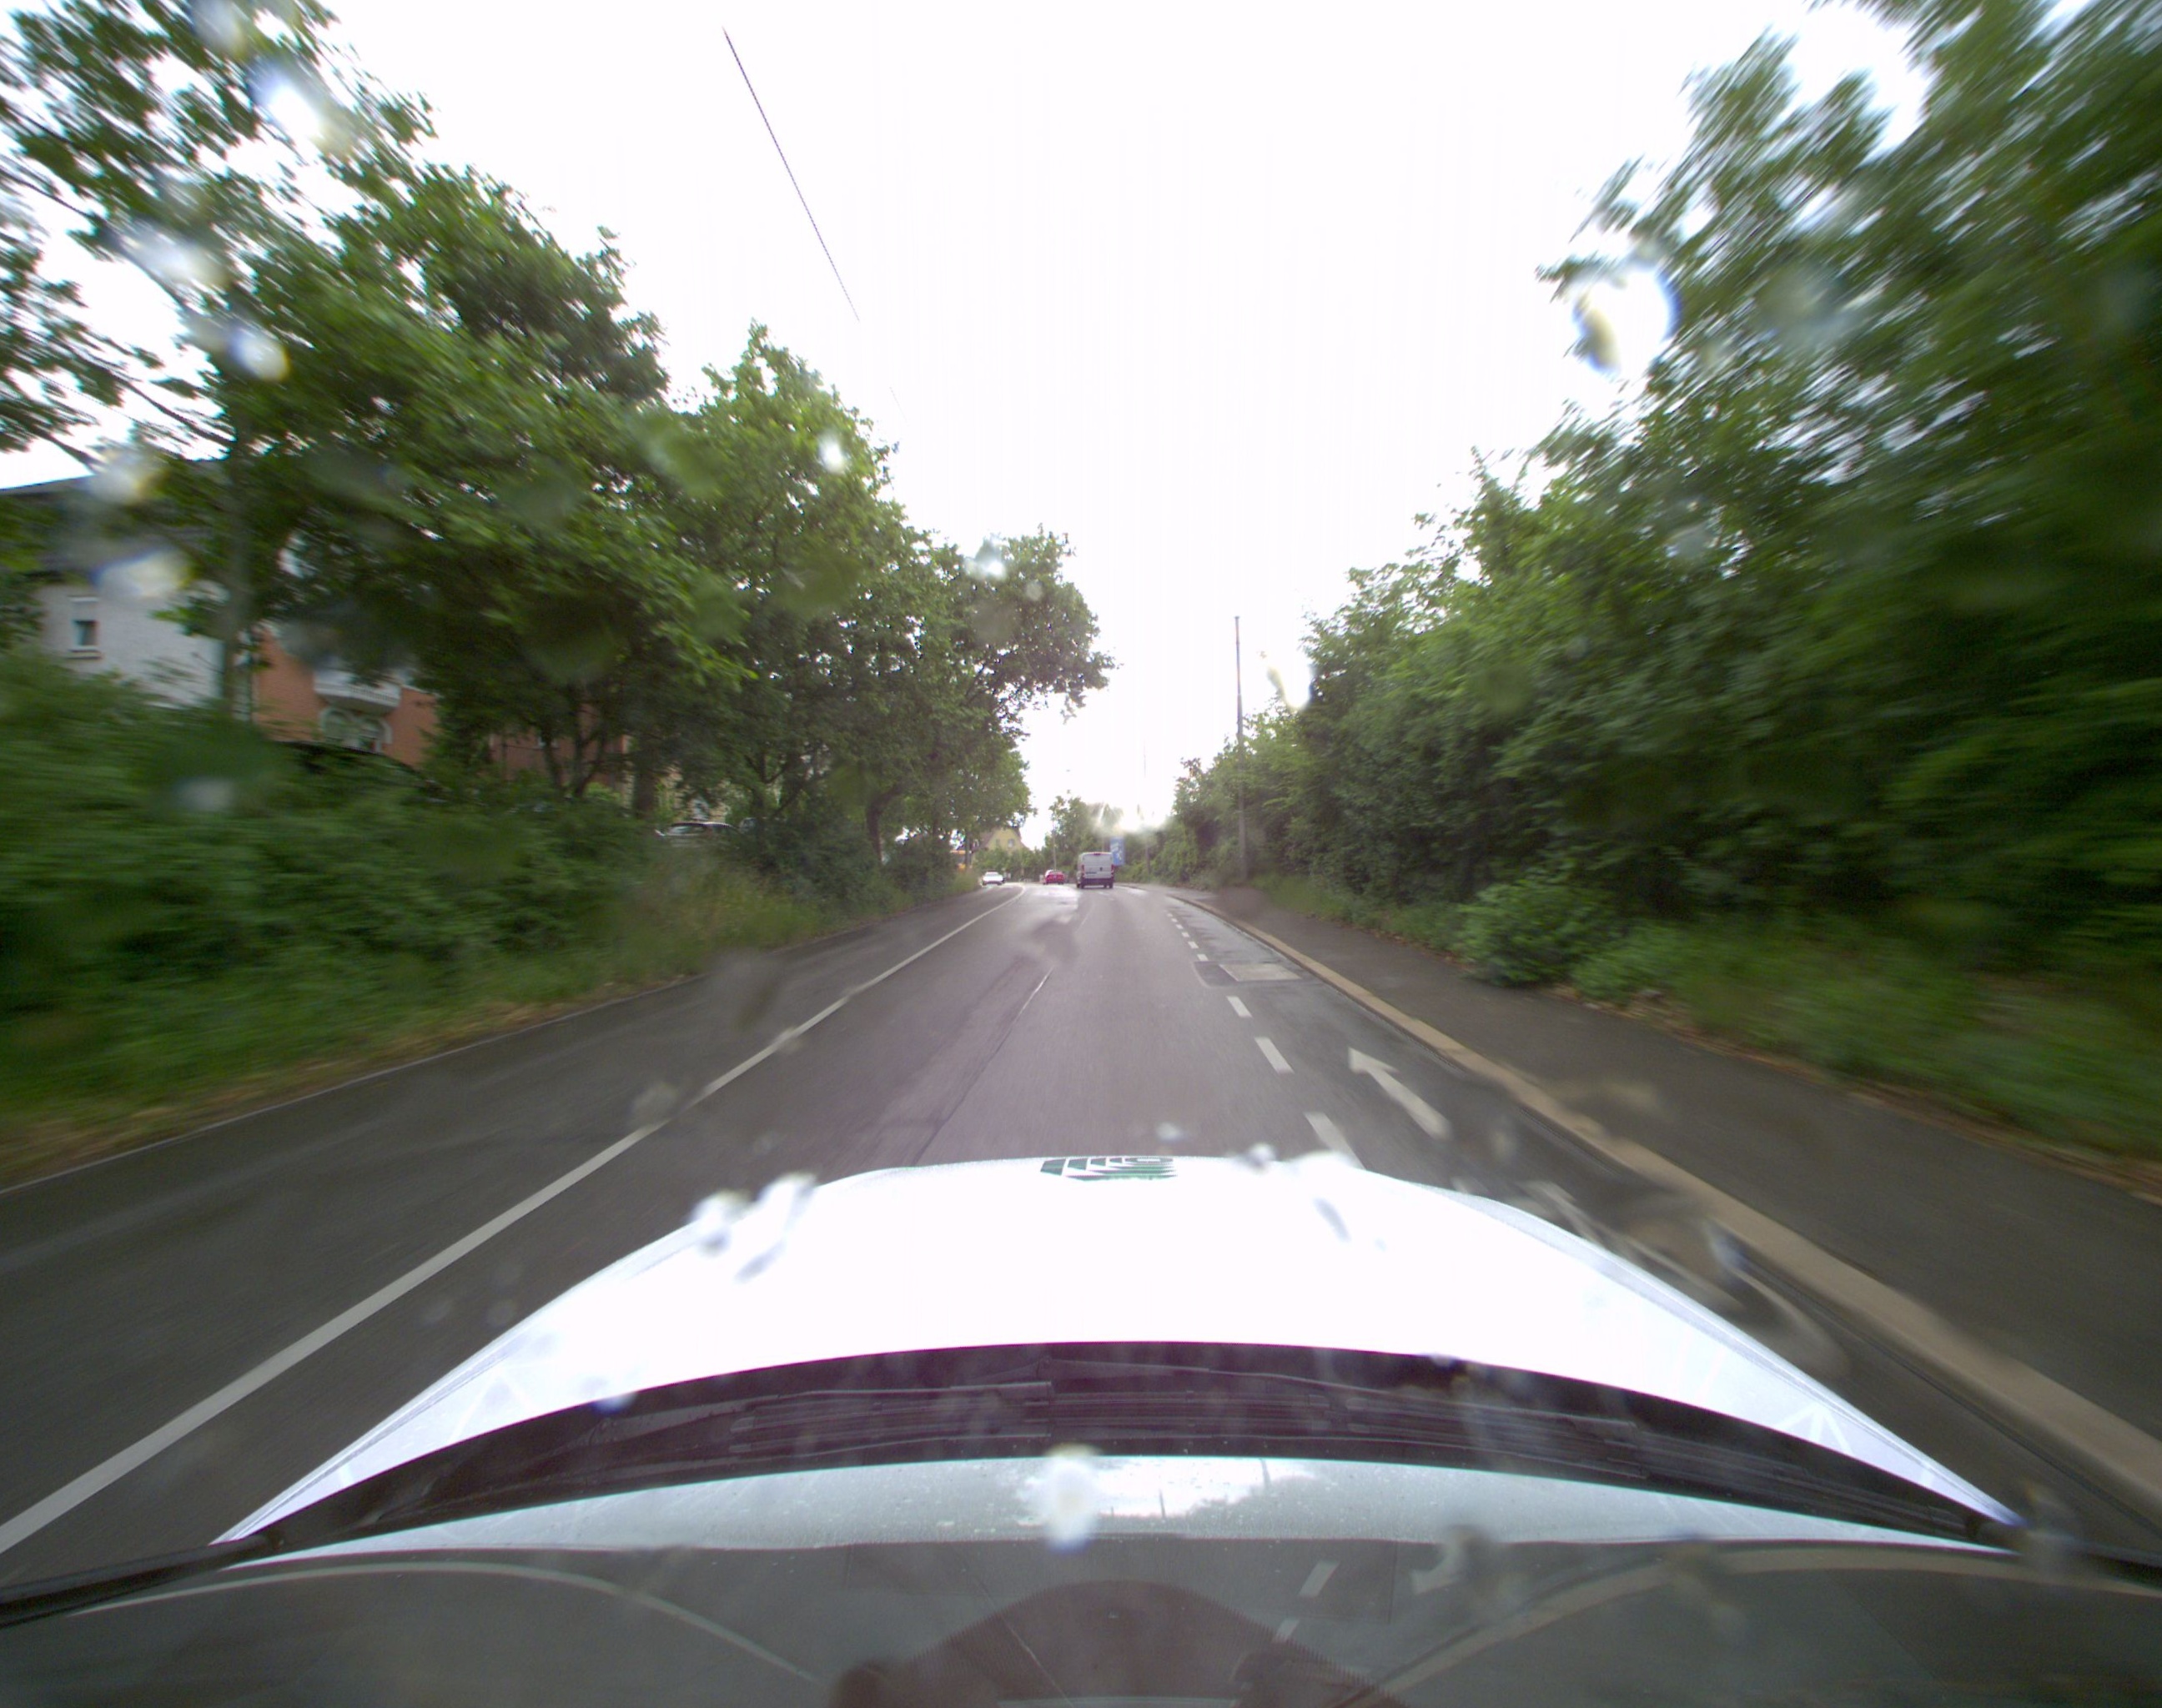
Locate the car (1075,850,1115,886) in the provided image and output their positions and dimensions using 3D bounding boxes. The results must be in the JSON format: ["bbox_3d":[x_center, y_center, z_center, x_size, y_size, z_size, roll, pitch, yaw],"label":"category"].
[{"bbox_3d":[0.855,0.847,52.078,2.232,2.213,4.707,0,0,-3],"label":"car"}]

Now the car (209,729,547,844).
[{"bbox_3d":[-11.416,-0.989,13.736,1.823,1.557,4.289,0,0,3],"label":"car"}]

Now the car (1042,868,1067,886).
[{"bbox_3d":[-2.639,2.229,79.499,2.233,1.657,4.706,0,0,-4],"label":"car"}]

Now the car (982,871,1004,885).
[{"bbox_3d":[-9.512,2.603,87.903,2.071,1.353,4.696,0,0,-11],"label":"car"}]

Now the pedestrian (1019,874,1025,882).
[{"bbox_3d":[-9.855,3.982,136.923,0.879,1.367,1.061,0,0,-11],"label":"pedestrian"}]

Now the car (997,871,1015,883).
[{"bbox_3d":[-11.358,3.474,123.304,2.238,1.804,4.697,0,0,-10],"label":"car"}]

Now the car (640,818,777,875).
[{"bbox_3d":[-11.114,-0.192,24.705,1.823,1.557,4.630,0,0,3],"label":"car"}]

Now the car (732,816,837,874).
[{"bbox_3d":[-10.830,-0.298,30.173,1.985,2.014,4.630,0,0,3],"label":"car"}]

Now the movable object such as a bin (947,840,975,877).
[{"bbox_3d":[-12.933,0.446,87.622,2.774,3.856,5.968,0,0,-9],"label":"movable object such as a bin"}]
